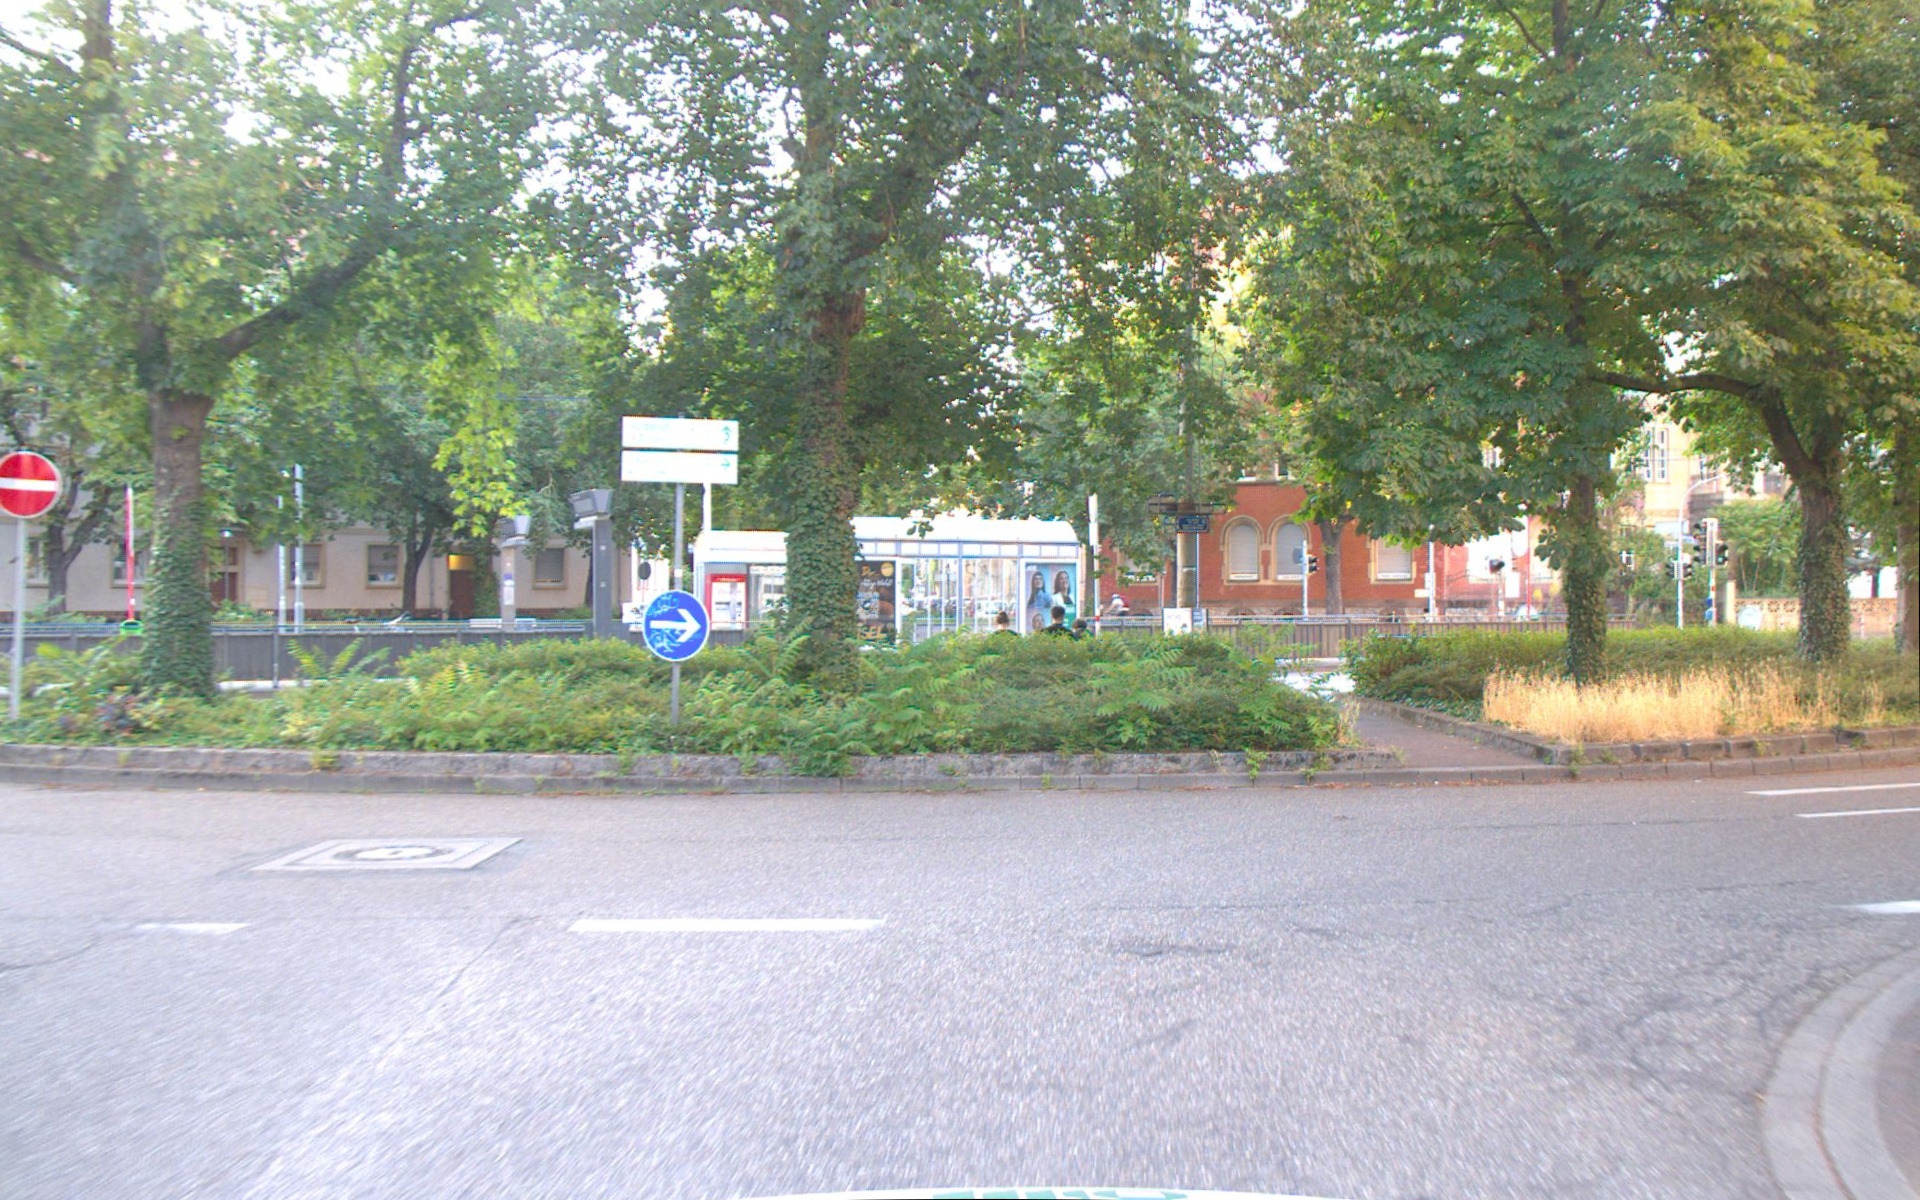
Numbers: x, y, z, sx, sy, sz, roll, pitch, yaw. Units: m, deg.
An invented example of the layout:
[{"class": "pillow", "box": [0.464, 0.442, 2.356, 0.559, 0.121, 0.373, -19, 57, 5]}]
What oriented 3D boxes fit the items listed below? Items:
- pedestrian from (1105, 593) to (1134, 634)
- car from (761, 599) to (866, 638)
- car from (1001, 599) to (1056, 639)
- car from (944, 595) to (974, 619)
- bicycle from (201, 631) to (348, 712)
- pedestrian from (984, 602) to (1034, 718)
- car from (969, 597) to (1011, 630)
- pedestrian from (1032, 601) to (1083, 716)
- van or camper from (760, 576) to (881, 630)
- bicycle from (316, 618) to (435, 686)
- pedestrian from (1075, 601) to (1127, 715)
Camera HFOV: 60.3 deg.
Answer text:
[{"class": "pedestrian", "box": [6.161, 0.528, 63.856, 0.849, 1.552, 0.713, 0, 0, 36]}, {"class": "car", "box": [-6.924, 0.865, 78.230, 4.856, 1.733, 1.997, 1, 0, -7]}, {"class": "car", "box": [3.057, 0.834, 74.746, 1.954, 1.733, 4.716, 1, 0, -4]}, {"class": "car", "box": [-0.100, 0.528, 126.547, 1.954, 1.733, 4.716, 1, 0, -4]}, {"class": "bicycle", "box": [-10.616, 1.083, 25.623, 2.082, 1.171, 0.681, 0, 0, -26]}, {"class": "pedestrian", "box": [0.618, 0.753, 21.201, 0.603, 1.456, 0.655, 0, 0, -2]}, {"class": "car", "box": [1.623, 0.729, 91.017, 1.954, 1.733, 4.716, 1, 0, -4]}, {"class": "pedestrian", "box": [1.255, 0.743, 21.323, 0.603, 1.456, 0.655, 0, 0, -2]}, {"class": "van or camper", "box": [-8.516, 0.180, 100.910, 7.225, 3.137, 2.669, 1, 0, -7]}, {"class": "bicycle", "box": [-9.693, 0.849, 27.421, 1.825, 1.070, 0.542, 0, 0, -25]}, {"class": "pedestrian", "box": [1.843, 0.746, 21.656, 0.603, 1.456, 0.655, 0, 0, -2]}]
